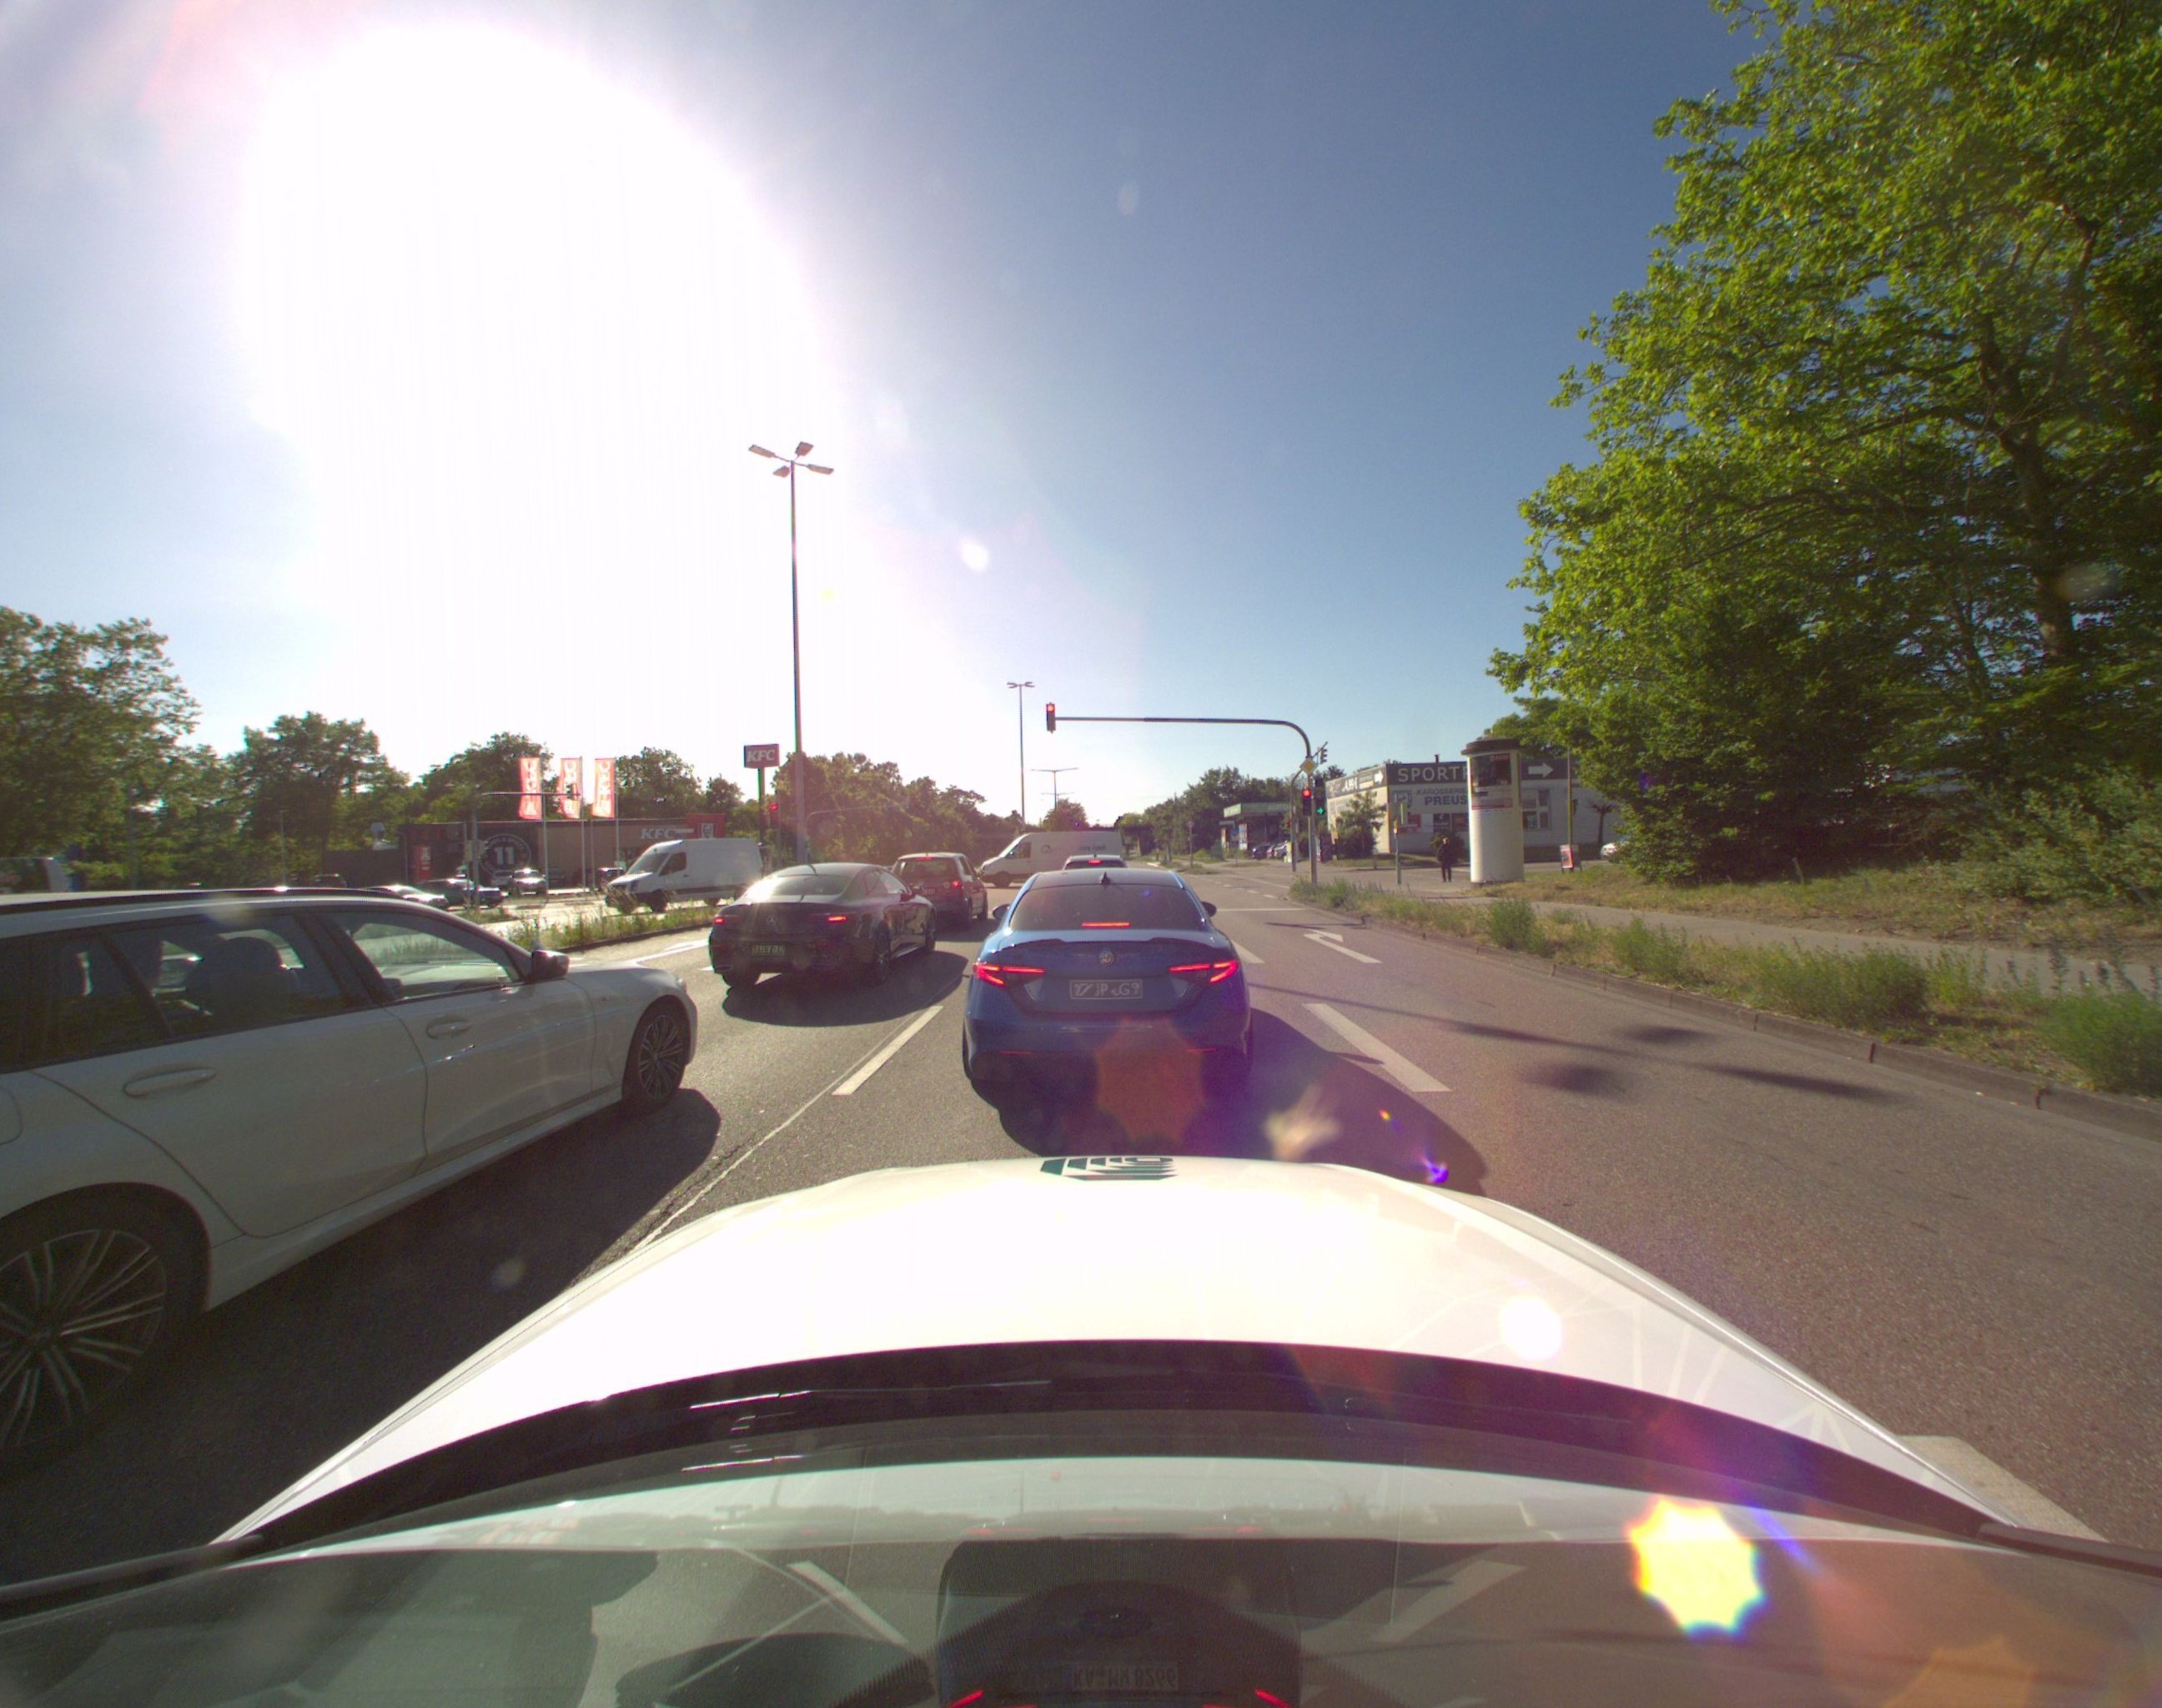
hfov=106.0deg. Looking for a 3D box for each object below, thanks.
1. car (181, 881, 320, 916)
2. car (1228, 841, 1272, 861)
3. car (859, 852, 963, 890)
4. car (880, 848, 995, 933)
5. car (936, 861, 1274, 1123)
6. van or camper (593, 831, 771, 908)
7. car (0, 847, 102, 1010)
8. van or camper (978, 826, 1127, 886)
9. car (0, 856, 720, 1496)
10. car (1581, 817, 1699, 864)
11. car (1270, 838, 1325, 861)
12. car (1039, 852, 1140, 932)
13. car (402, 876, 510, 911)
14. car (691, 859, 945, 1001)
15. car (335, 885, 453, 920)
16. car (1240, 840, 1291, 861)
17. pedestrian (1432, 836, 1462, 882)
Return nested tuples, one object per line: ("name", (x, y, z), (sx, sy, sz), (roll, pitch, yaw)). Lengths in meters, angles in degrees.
("car", (-39.259, 2.085, 38.558), (4.701, 1.429, 1.865), (-1, 1, 2))
("car", (15.369, -0.252, 73.954), (3.489, 1.706, 1.687), (-1, 0, -14))
("car", (-8.166, 0.791, 39.086), (4.618, 1.653, 1.985), (-1, 0, -22))
("car", (-2.994, 0.700, 17.725), (1.642, 1.598, 3.933), (-1, 0, 2))
("car", (0.194, 0.789, 6.501), (1.859, 1.385, 3.933), (-1, 0, 2))
("van or camper", (-14.893, 0.510, 30.867), (1.975, 2.651, 5.993), (-1, 0, 28))
("car", (-14.596, 1.004, 8.578), (1.981, 2.013, 5.041), (-4, 0, 11))
("van or camper", (-1.393, 0.078, 38.435), (6.735, 2.572, 2.177), (-2, 0, -11))
("car", (-3.437, 0.799, 3.344), (1.762, 1.509, 4.463), (-1, 0, 2))
("car", (27.112, -0.636, 39.586), (4.393, 2.145, 1.999), (-1, 0, -2))
("car", (17.497, -0.358, 65.851), (3.993, 1.706, 1.687), (-1, 0, -15))
("car", (0.223, 0.703, 17.180), (1.859, 1.450, 3.933), (-1, 0, 2))
("car", (-31.934, 1.989, 41.672), (4.025, 1.595, 1.824), (-2, 0, -1))
("car", (-3.151, 0.814, 10.816), (1.762, 1.414, 4.463), (-1, 0, 2))
("car", (-32.137, 2.239, 38.150), (4.019, 1.429, 1.826), (-1, 0, 3))
("car", (16.026, -0.289, 70.745), (3.997, 1.706, 1.685), (-1, 0, -18))
("pedestrian", (14.200, 0.184, 31.632), (0.818, 1.721, 0.856), (-2, 0, 9))
